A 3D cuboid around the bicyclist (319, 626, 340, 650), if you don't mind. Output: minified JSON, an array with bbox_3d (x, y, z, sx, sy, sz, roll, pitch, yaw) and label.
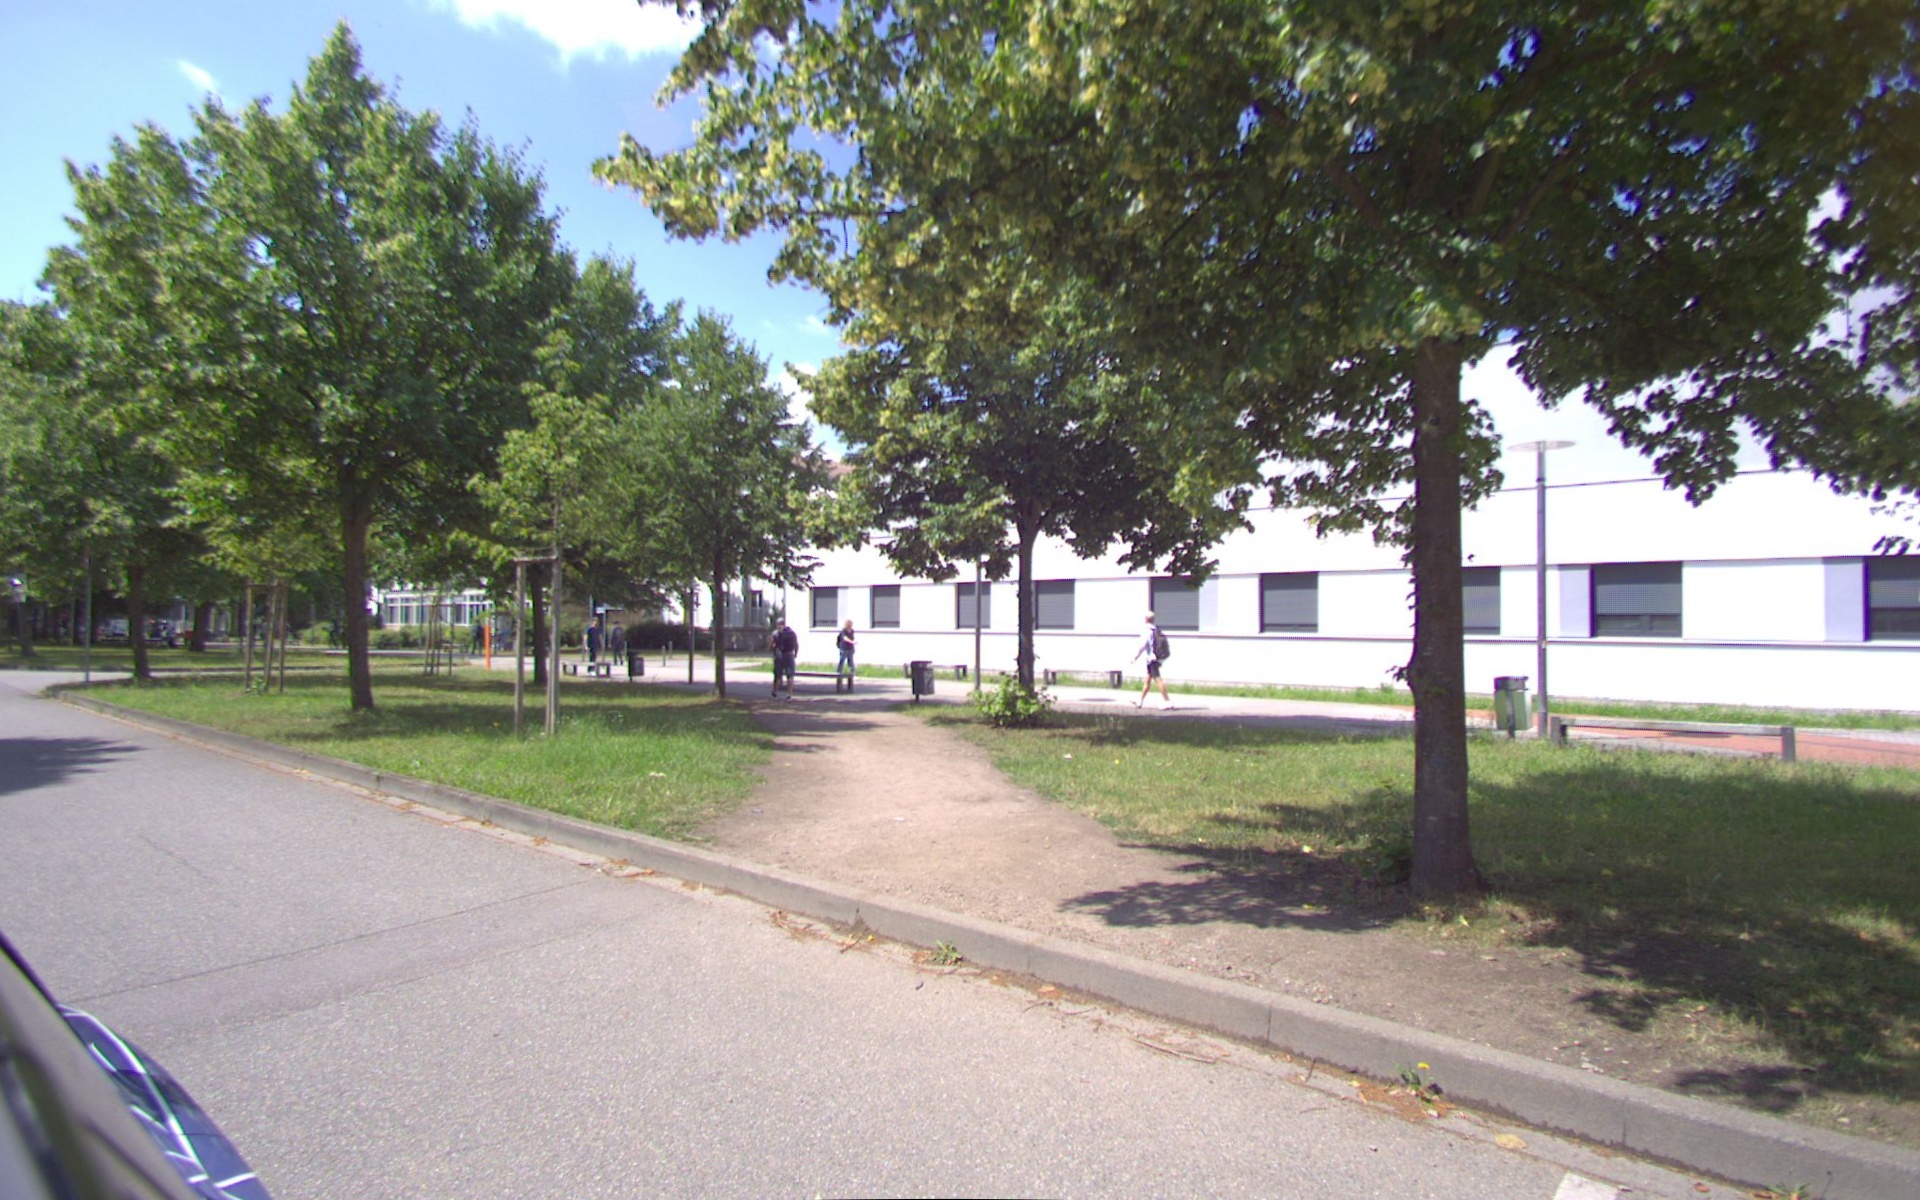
[{"bbox_3d":[-36.590,2.203,58.717,0.828,1.343,0.768,-1,-2,41],"label":"bicyclist"}]

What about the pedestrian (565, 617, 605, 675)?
[{"bbox_3d":[-11.804,1.442,31.845,0.782,1.789,1.096,2,-2,-43],"label":"pedestrian"}]

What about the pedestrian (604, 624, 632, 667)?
[{"bbox_3d":[-13.502,1.795,39.957,0.836,1.661,0.805,2,-2,-38],"label":"pedestrian"}]

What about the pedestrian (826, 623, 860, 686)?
[{"bbox_3d":[-3.221,1.480,27.864,0.725,1.701,0.620,-1,-2,41],"label":"pedestrian"}]

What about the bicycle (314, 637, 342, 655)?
[{"bbox_3d":[-36.724,2.653,58.821,2.148,1.040,0.768,-1,-2,41],"label":"bicycle"}]

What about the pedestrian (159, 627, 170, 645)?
[{"bbox_3d":[-75.501,3.442,96.084,0.754,1.665,1.243,2,-2,-38],"label":"pedestrian"}]

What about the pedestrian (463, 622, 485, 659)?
[{"bbox_3d":[-23.514,1.957,48.972,0.635,1.735,0.786,-1,-2,41],"label":"pedestrian"}]

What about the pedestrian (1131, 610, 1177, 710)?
[{"bbox_3d":[3.564,1.086,18.621,0.701,1.783,0.829,0,-2,2],"label":"pedestrian"}]

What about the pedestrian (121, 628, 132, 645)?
[{"bbox_3d":[-79.601,3.496,96.635,0.754,1.665,1.243,2,-2,-38],"label":"pedestrian"}]

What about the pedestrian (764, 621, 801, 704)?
[{"bbox_3d":[-3.653,1.275,20.873,0.715,1.669,0.717,1,-2,-8],"label":"pedestrian"}]

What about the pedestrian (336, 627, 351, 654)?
[{"bbox_3d":[-37.612,2.488,61.736,0.763,1.641,0.588,-1,-2,41],"label":"pedestrian"}]
